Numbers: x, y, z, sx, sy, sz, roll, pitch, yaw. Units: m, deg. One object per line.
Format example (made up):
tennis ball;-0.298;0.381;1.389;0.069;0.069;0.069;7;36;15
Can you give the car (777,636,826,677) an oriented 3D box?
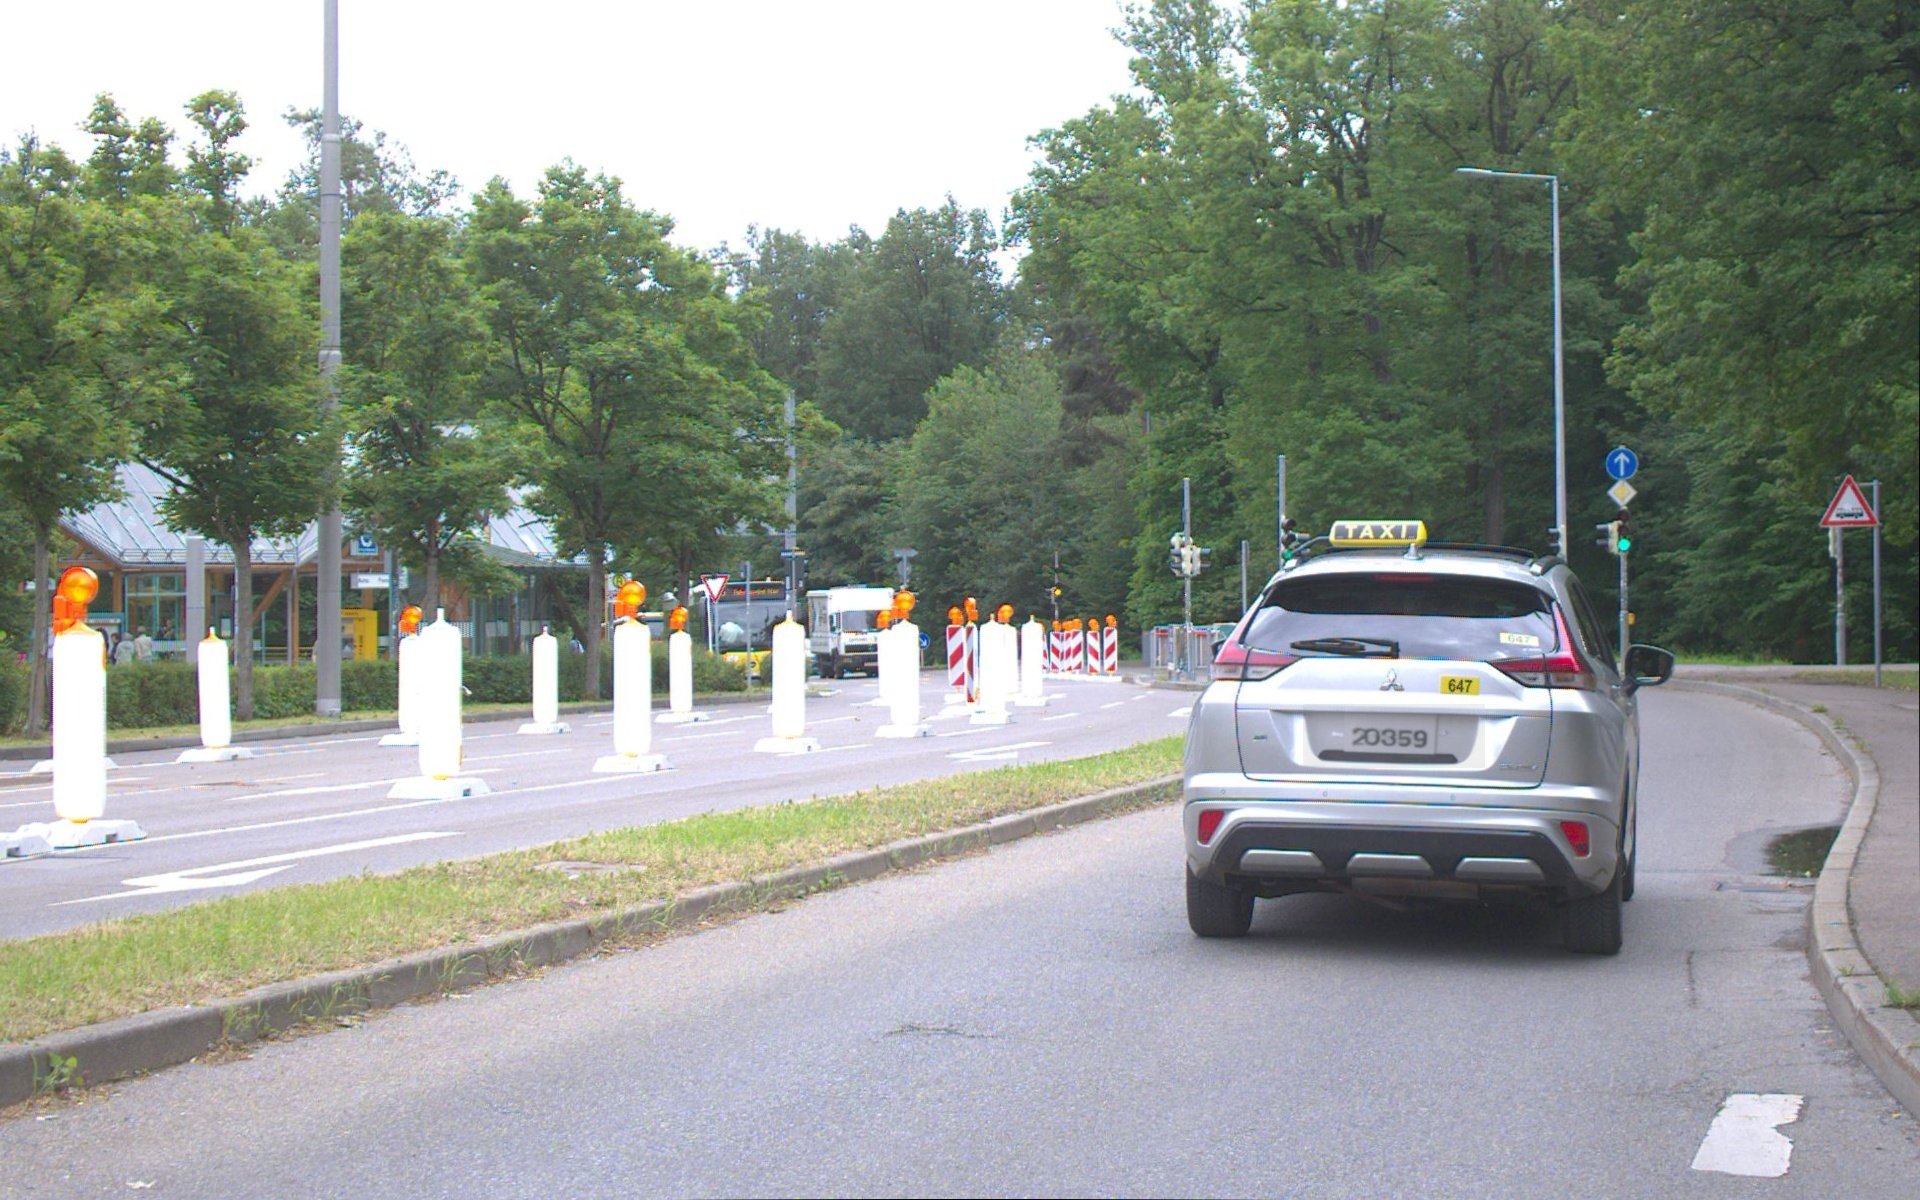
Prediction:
car;-6.289;2.225;136.137;1.555;1.523;3.827;0;0;-8

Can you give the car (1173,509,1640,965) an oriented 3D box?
car;2.086;0.557;15.187;1.774;1.742;3.778;0;-1;11

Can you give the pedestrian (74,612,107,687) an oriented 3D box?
pedestrian;-18.893;1.069;74.669;0.491;1.620;0.561;0;0;-41

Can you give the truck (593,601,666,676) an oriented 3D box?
truck;-15.338;1.819;159.063;2.483;3.276;8.520;-1;-2;-11

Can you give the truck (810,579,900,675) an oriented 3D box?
truck;-3.821;0.983;123.164;2.483;3.275;8.520;-1;0;-6

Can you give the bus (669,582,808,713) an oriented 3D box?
bus;-6.645;1.321;101.244;2.821;3.591;12.806;0;0;-9
